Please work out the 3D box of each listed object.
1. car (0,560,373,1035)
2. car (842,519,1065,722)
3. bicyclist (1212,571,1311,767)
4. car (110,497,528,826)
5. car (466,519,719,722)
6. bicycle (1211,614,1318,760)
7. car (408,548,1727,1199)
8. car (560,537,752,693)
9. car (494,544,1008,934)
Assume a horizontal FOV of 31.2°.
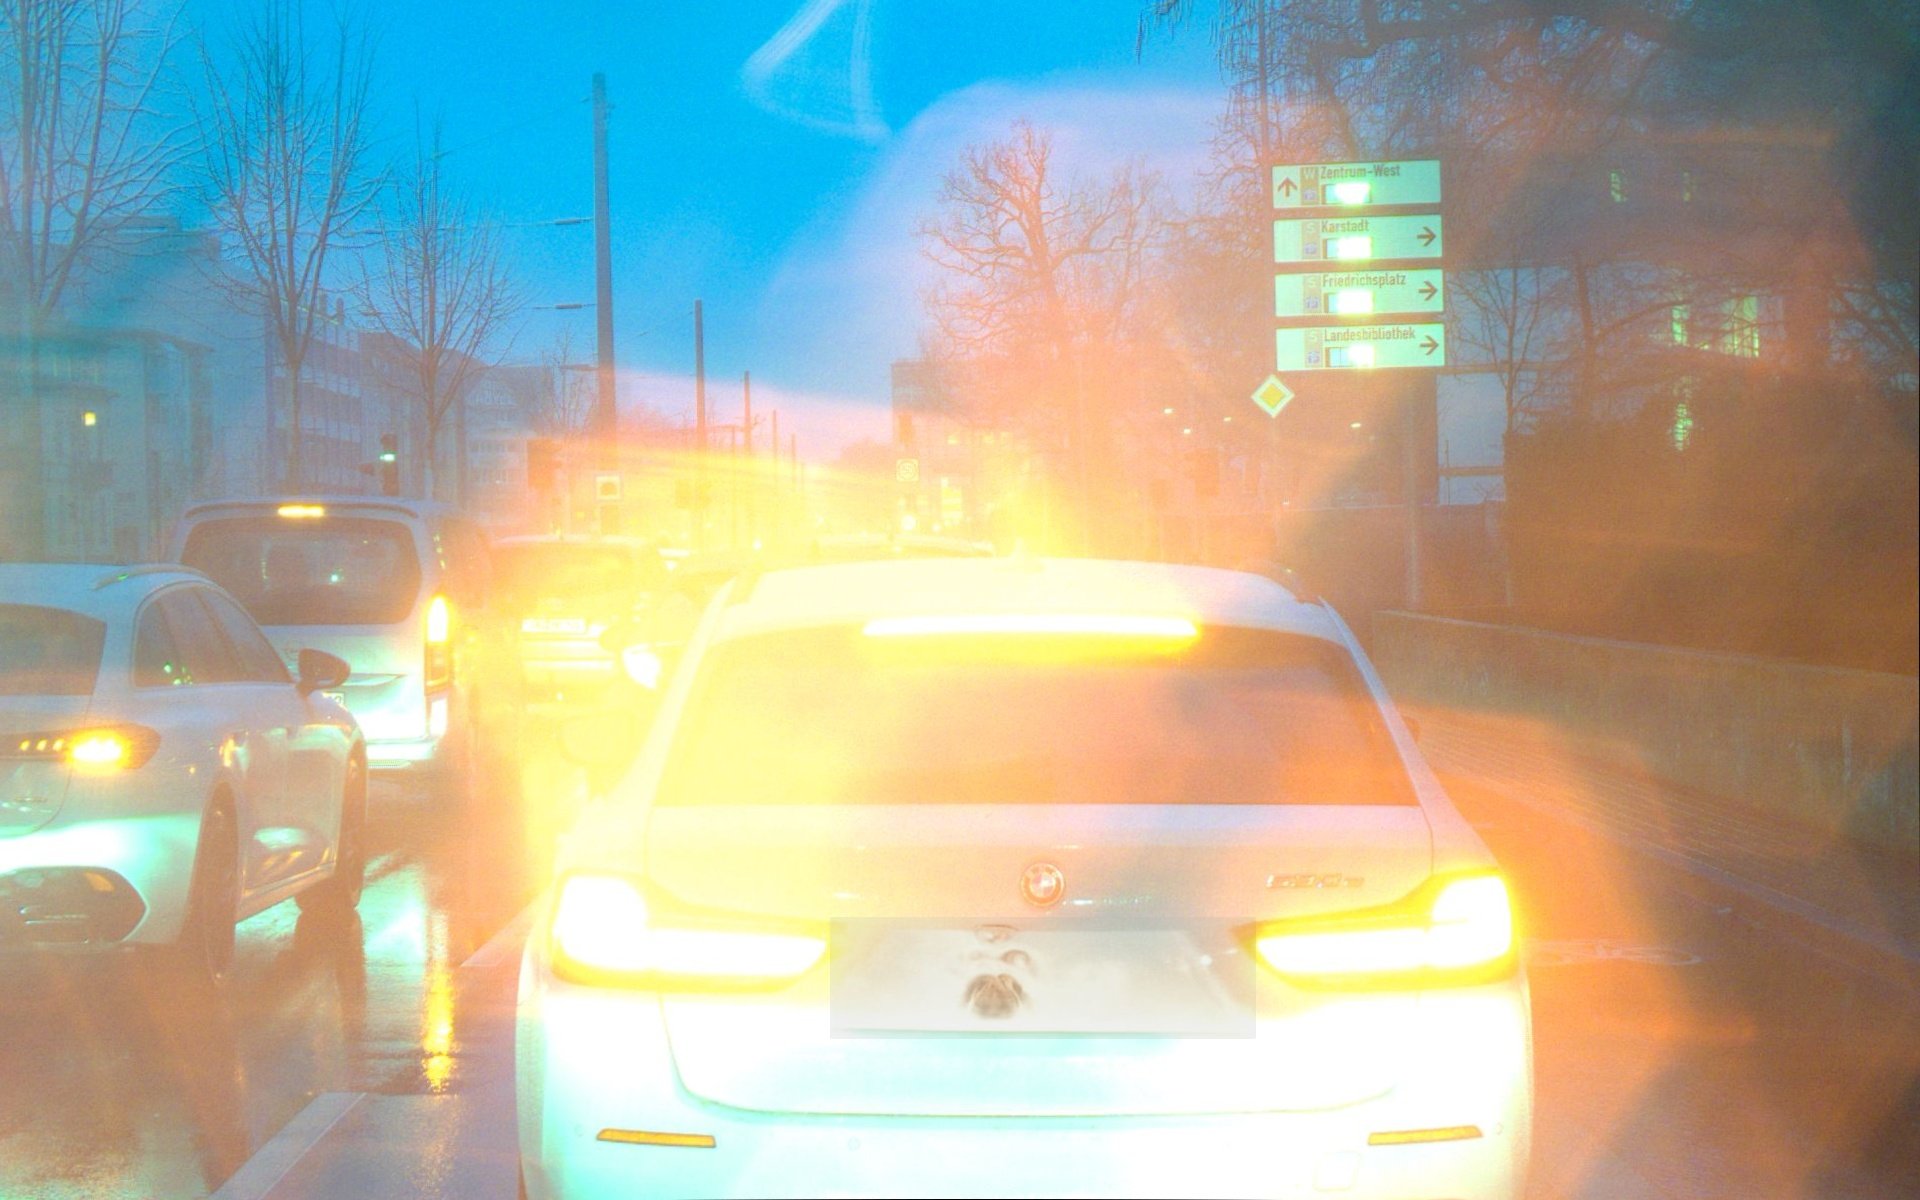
[{"bbox_3d":[-3.386,0.560,12.488,1.846,1.400,4.614,0,1,-2],"label":"car"},{"bbox_3d":[-0.070,0.124,29.803,1.806,1.640,4.000,0,1,0],"label":"car"},{"bbox_3d":[2.202,0.492,25.150,0.645,1.384,0.890,-1,1,2],"label":"bicyclist"},{"bbox_3d":[-3.663,0.299,20.384,1.793,1.730,4.538,0,1,-2],"label":"car"},{"bbox_3d":[-3.111,0.126,29.805,1.806,1.640,4.000,0,1,0],"label":"car"},{"bbox_3d":[2.209,0.617,25.132,0.645,0.963,2.046,-1,1,2],"label":"bicycle"},{"bbox_3d":[0.145,0.657,7.304,1.999,1.503,4.164,0,1,-1],"label":"car"},{"bbox_3d":[-3.326,0.120,38.253,1.806,1.640,4.000,0,1,0],"label":"car"},{"bbox_3d":[-0.814,0.494,15.110,1.936,1.452,4.164,0,1,-1],"label":"car"}]
